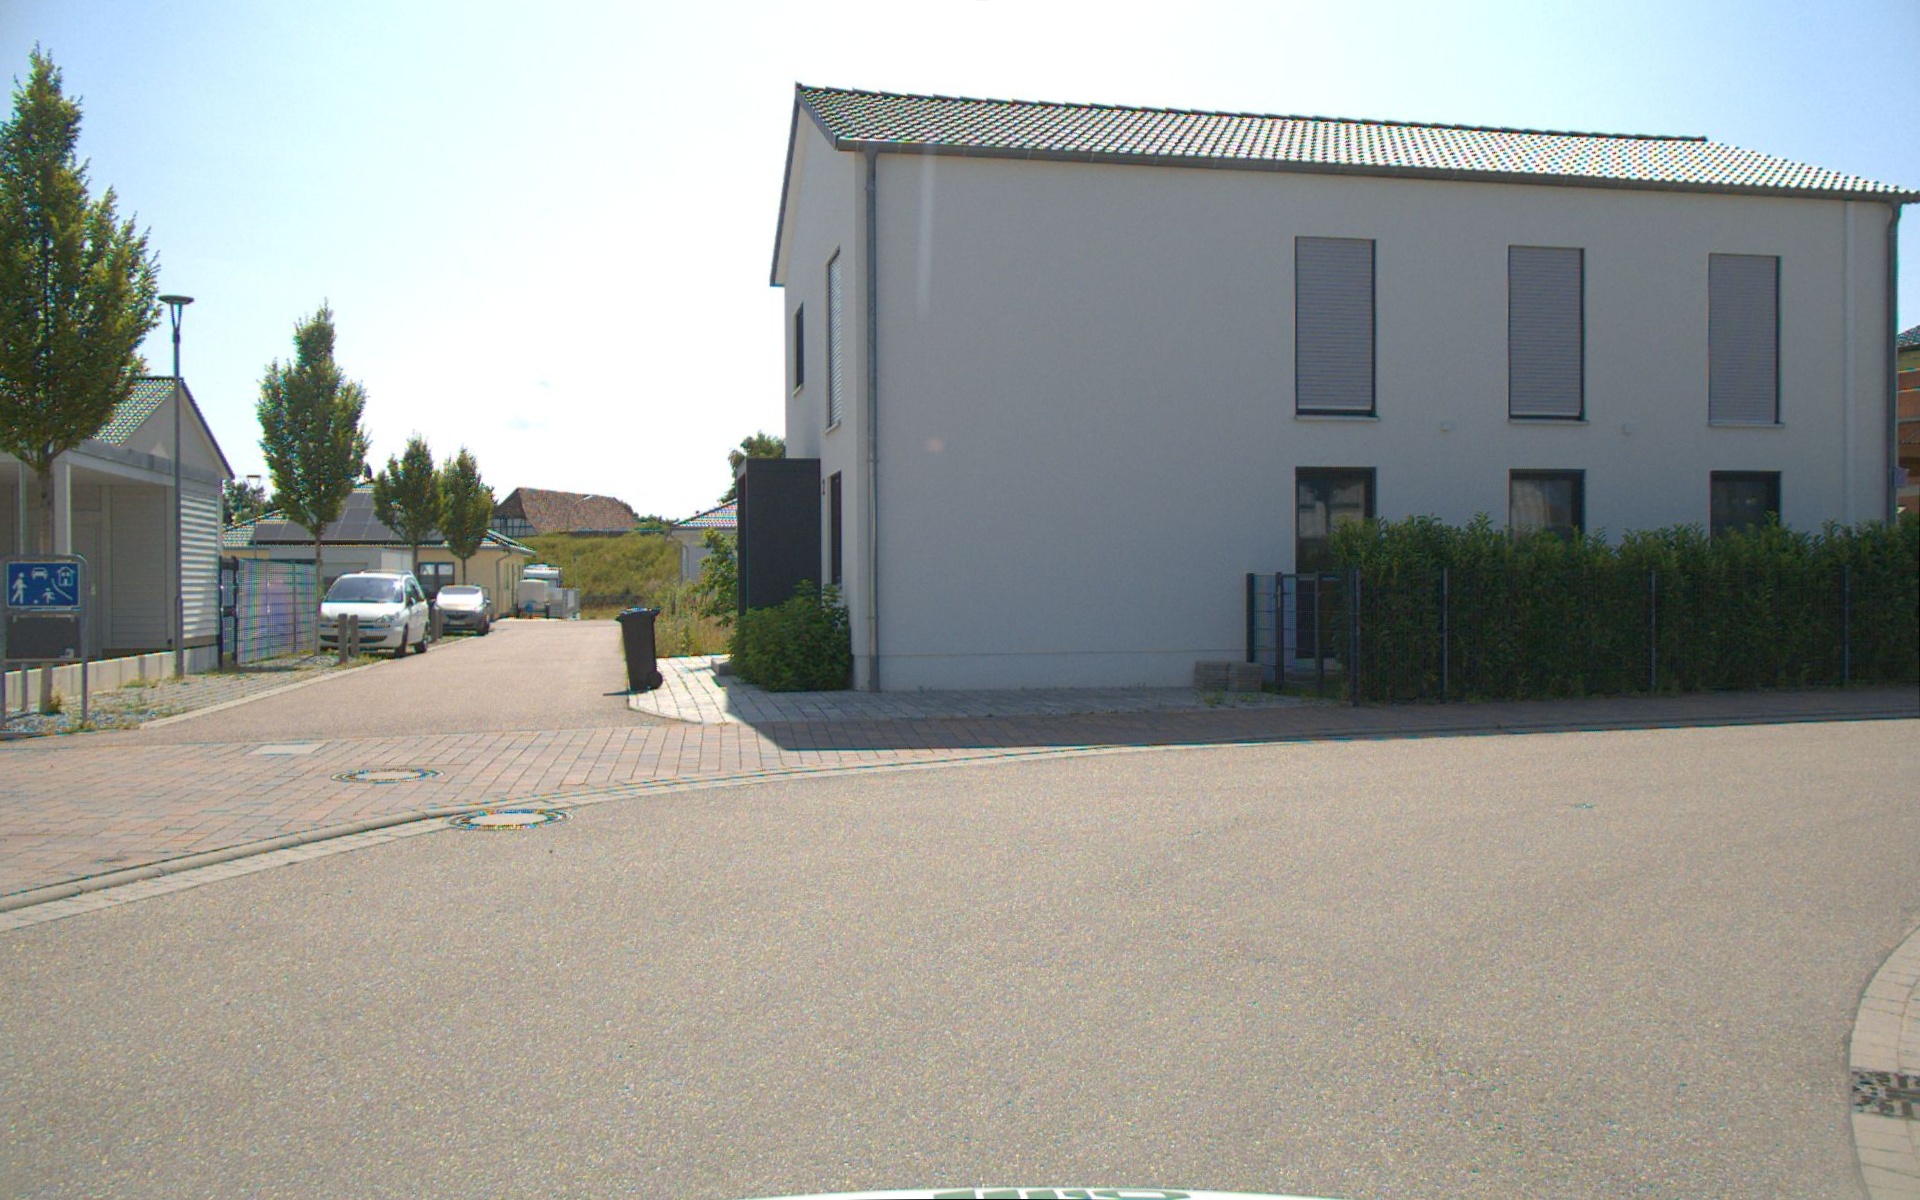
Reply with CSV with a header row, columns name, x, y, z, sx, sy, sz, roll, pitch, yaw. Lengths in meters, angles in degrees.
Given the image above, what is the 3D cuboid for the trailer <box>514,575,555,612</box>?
name,x,y,z,sx,sy,sz,roll,pitch,yaw
trailer,-19.450,-0.281,75.650,1.597,1.642,2.555,1,0,-10

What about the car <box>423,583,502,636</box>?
name,x,y,z,sx,sy,sz,roll,pitch,yaw
car,-16.359,0.313,54.602,1.957,1.642,4.473,1,0,-10

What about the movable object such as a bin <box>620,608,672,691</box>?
name,x,y,z,sx,sy,sz,roll,pitch,yaw
movable object such as a bin,-3.840,0.595,20.206,0.589,0.965,0.500,-2,1,-11

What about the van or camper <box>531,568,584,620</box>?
name,x,y,z,sx,sy,sz,roll,pitch,yaw
van or camper,-20.159,-0.284,83.007,2.222,2.453,4.832,1,0,-10

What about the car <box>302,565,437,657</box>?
name,x,y,z,sx,sy,sz,roll,pitch,yaw
car,-12.582,0.237,35.539,1.957,1.821,4.635,1,0,-10
